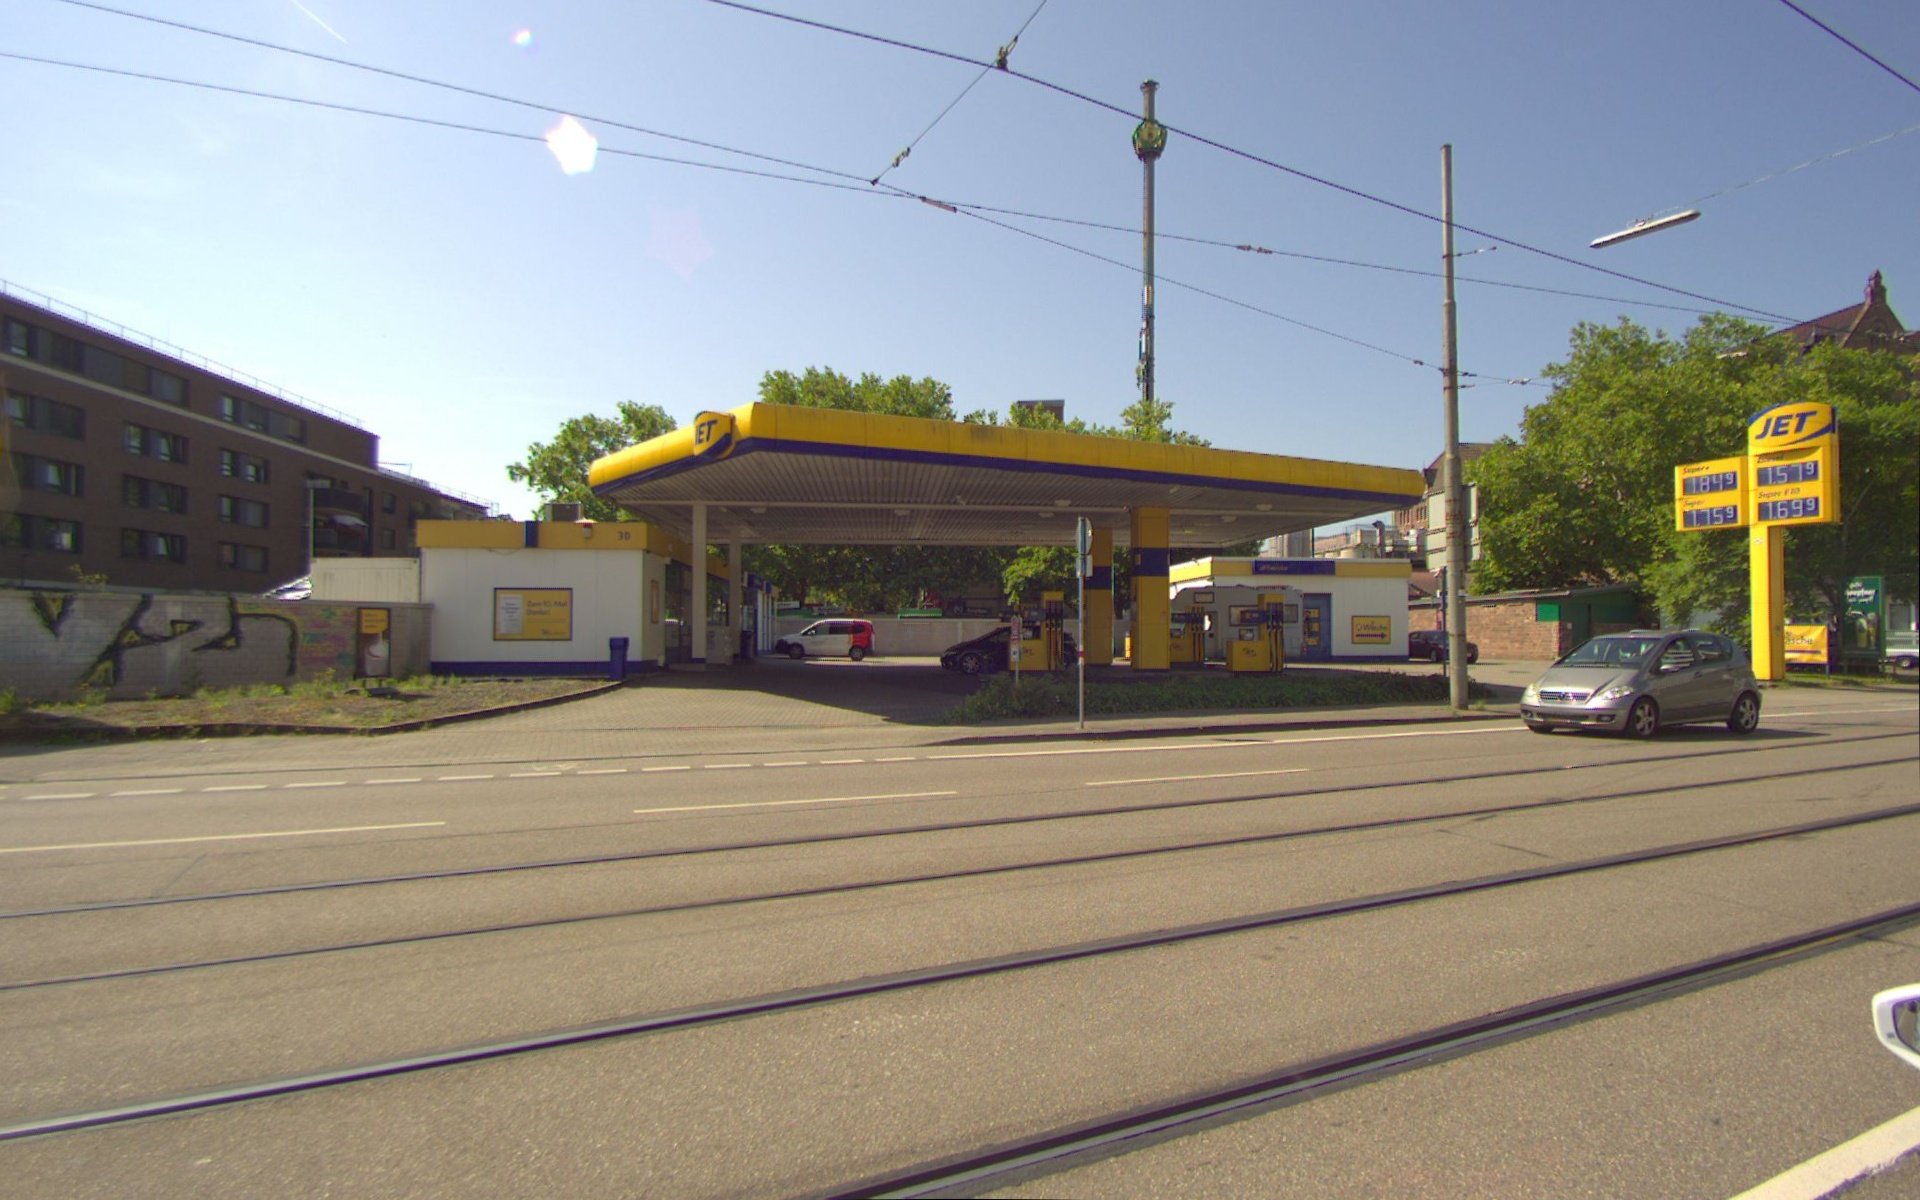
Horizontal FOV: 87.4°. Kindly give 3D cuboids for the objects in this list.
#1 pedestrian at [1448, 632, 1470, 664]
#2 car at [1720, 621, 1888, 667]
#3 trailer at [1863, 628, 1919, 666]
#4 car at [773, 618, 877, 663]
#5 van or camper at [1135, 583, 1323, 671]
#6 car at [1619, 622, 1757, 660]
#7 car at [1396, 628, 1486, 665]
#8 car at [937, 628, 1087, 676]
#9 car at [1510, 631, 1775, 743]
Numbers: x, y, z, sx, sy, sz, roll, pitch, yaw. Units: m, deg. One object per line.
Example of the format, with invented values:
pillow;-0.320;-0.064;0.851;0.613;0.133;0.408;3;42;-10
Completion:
pedestrian;23.359;2.260;47.059;0.630;1.488;0.676;1;-1;-20
car;32.123;1.655;38.404;4.486;1.646;1.950;0;-2;16
trailer;39.620;1.917;41.359;1.755;1.546;3.203;1;-2;-27
car;-5.931;1.778;44.502;4.389;1.786;1.777;2;0;-5
van or camper;10.133;0.947;38.121;6.578;3.007;2.617;2;1;16
car;31.808;1.770;44.025;4.487;1.604;1.950;0;-2;16
car;21.560;2.052;45.225;1.900;1.547;4.170;1;-2;-3
car;1.508;1.538;30.149;4.306;1.320;1.701;1;0;-4
car;10.820;1.329;15.938;3.838;1.591;1.741;2;-3;-25
